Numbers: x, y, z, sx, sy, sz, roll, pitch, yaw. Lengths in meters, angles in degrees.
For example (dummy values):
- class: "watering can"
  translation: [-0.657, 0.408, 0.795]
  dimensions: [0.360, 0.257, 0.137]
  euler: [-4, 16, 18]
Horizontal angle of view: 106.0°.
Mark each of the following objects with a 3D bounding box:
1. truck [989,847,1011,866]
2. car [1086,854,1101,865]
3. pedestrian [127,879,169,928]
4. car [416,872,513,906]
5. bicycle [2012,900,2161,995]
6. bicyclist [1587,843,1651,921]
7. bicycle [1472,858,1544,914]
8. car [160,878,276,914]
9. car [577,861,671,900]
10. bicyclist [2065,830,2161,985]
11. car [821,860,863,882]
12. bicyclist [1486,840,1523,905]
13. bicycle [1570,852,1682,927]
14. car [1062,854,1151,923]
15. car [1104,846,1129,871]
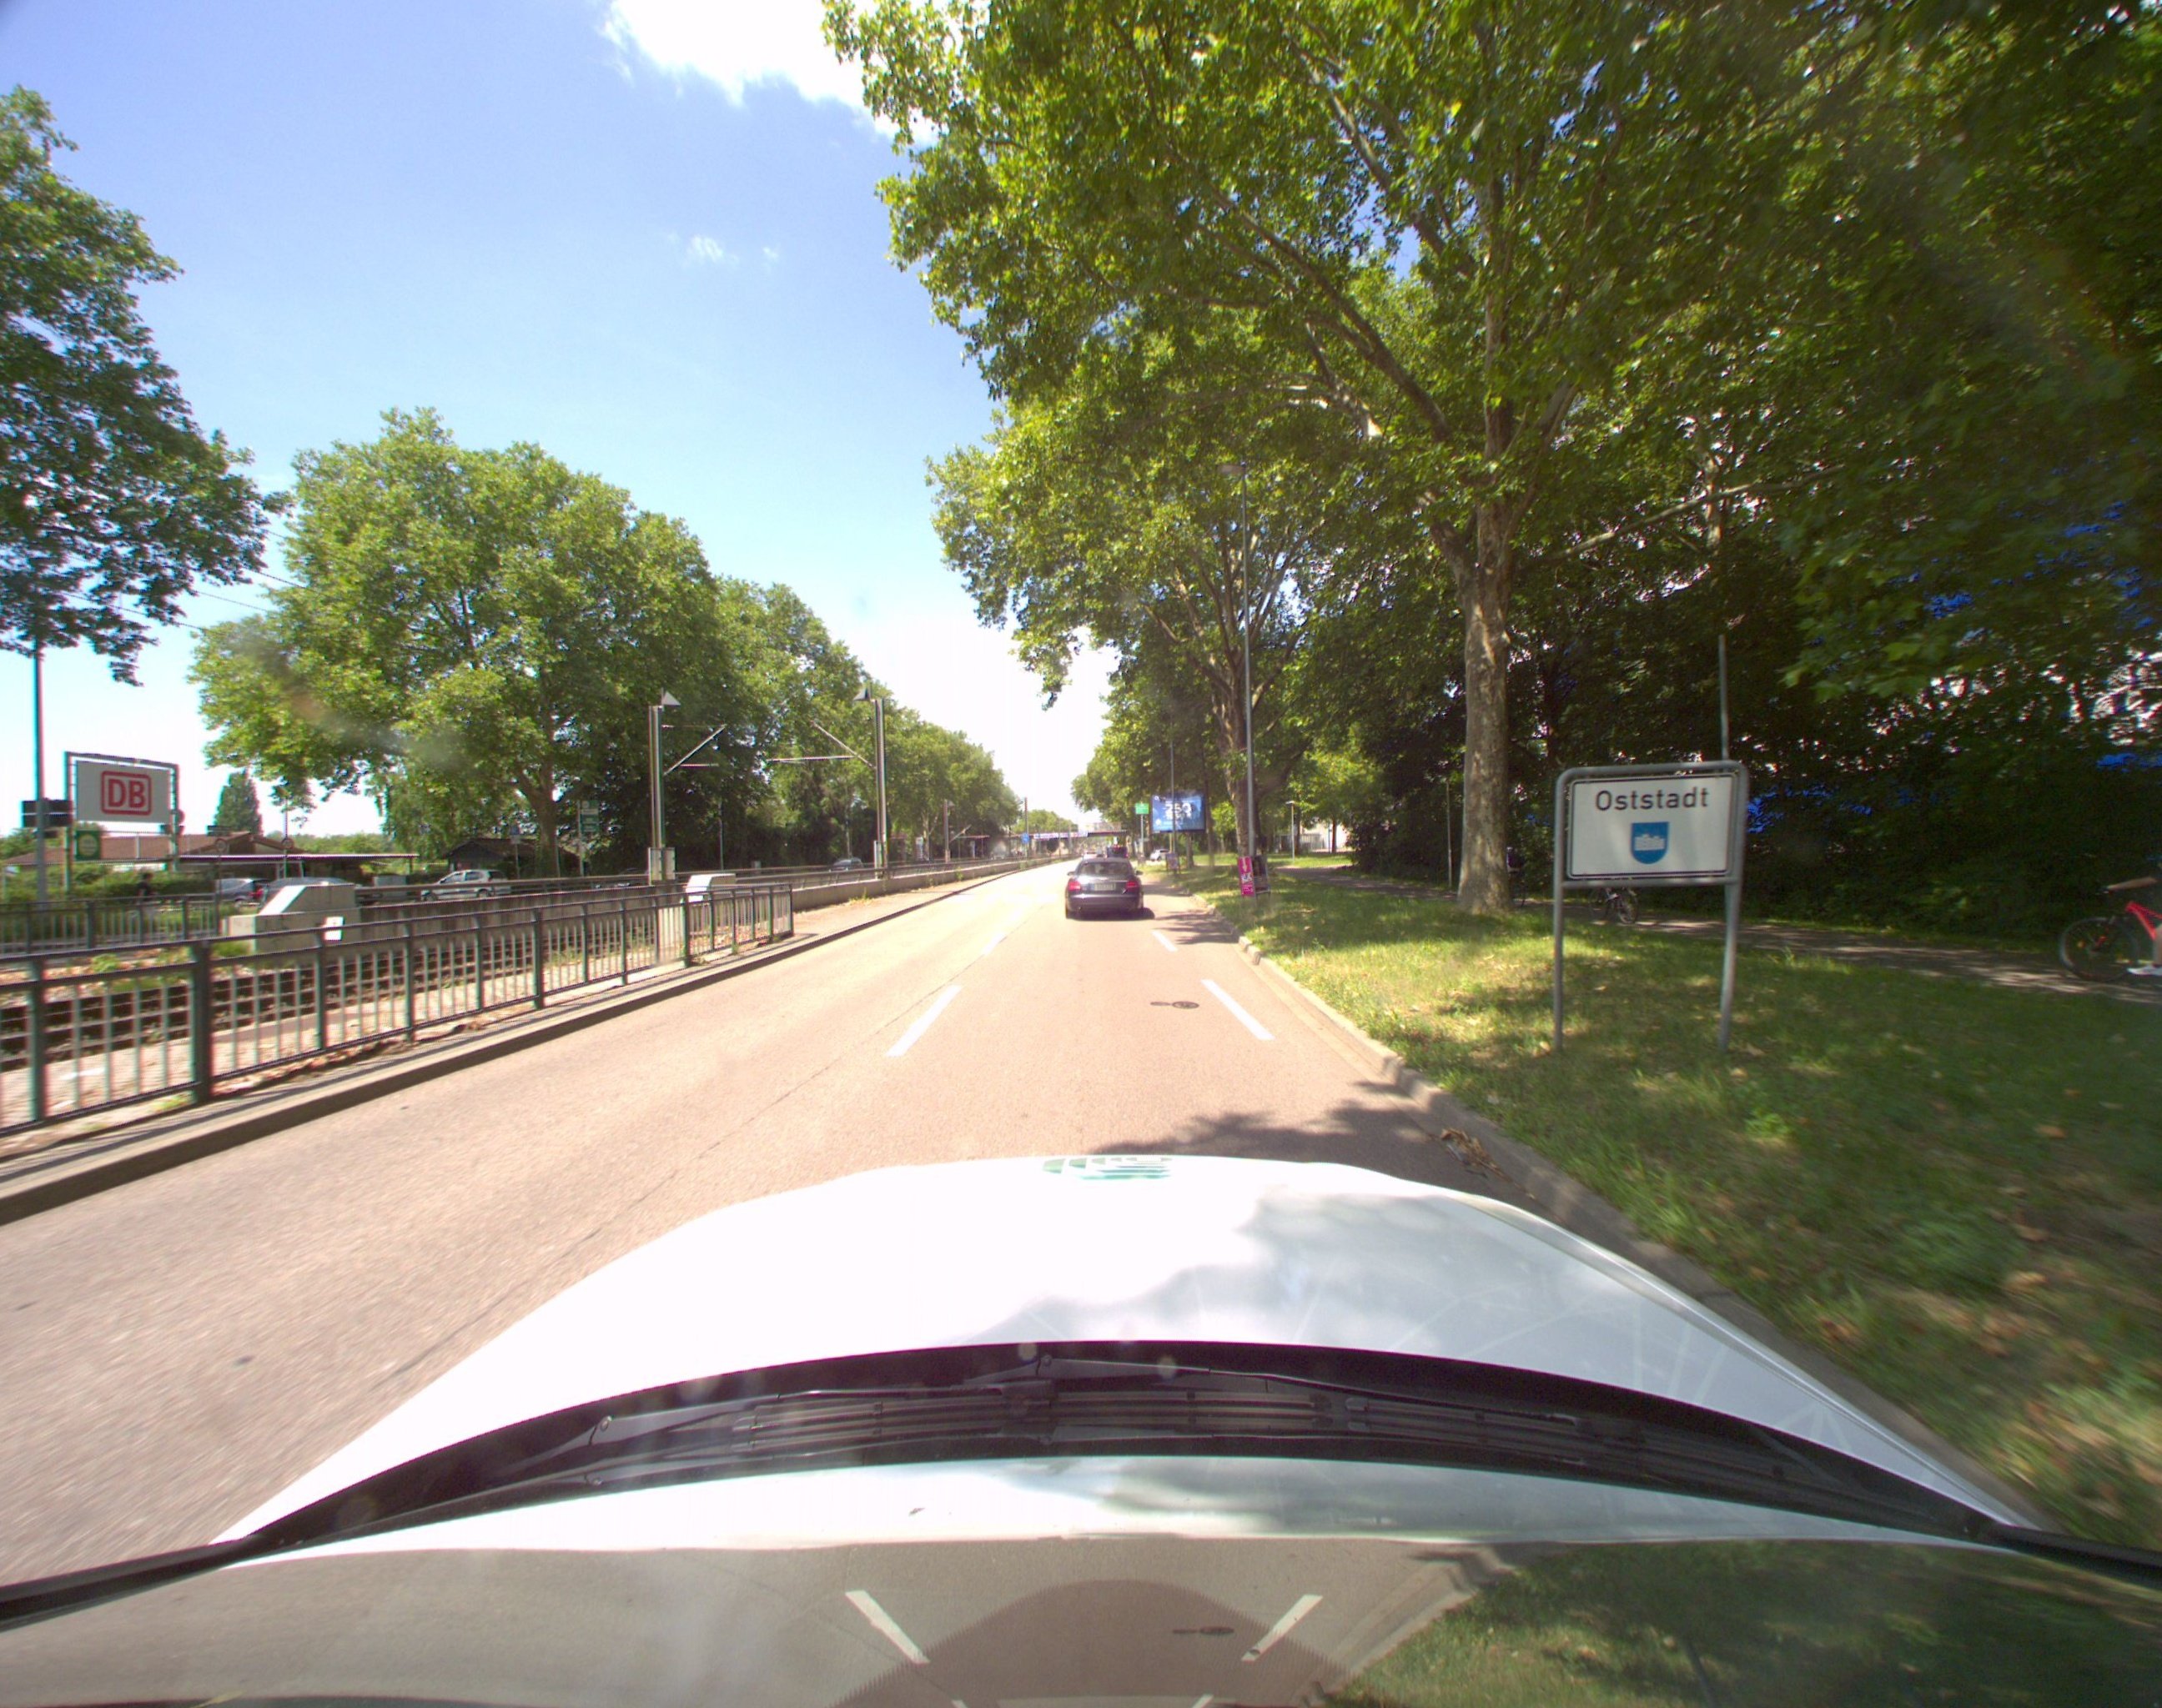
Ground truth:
- class: "truck"
  translation: [-13.745, 0.377, 138.680]
  dimensions: [2.983, 3.020, 7.993]
  euler: [-1, 0, -2]
- class: "car"
  translation: [1.678, 0.766, 110.470]
  dimensions: [1.839, 1.464, 4.000]
  euler: [-1, 0, 0]
- class: "pedestrian"
  translation: [-28.683, 1.515, 25.046]
  dimensions: [0.556, 1.452, 0.643]
  euler: [-1, 0, -12]
- class: "car"
  translation: [-29.911, 1.666, 39.597]
  dimensions: [3.316, 1.475, 1.649]
  euler: [-1, 0, -10]
- class: "bicycle"
  translation: [11.566, 1.009, 8.898]
  dimensions: [0.642, 0.887, 2.027]
  euler: [-1, 0, 7]
- class: "bicyclist"
  translation: [11.407, 0.576, 17.312]
  dimensions: [0.656, 1.599, 1.054]
  euler: [-1, 0, 2]
- class: "bicycle"
  translation: [11.745, 0.842, 22.506]
  dimensions: [0.608, 1.420, 2.663]
  euler: [-2, 0, 2]
- class: "car"
  translation: [-39.908, 1.921, 37.738]
  dimensions: [3.316, 1.475, 1.649]
  euler: [-1, 0, -10]
- class: "car"
  translation: [-21.598, 1.199, 38.686]
  dimensions: [1.736, 1.684, 4.389]
  euler: [-1, 0, 4]
- class: "bicyclist"
  translation: [11.548, 0.554, 8.891]
  dimensions: [0.619, 1.610, 0.818]
  euler: [-1, 0, 7]
- class: "car"
  translation: [-19.708, 1.398, 67.380]
  dimensions: [1.859, 1.684, 4.389]
  euler: [2, 0, 4]
- class: "bicyclist"
  translation: [11.653, 0.497, 22.426]
  dimensions: [0.595, 1.746, 0.843]
  euler: [-1, 0, 2]
- class: "bicycle"
  translation: [11.404, 0.690, 17.170]
  dimensions: [0.608, 1.420, 2.663]
  euler: [-2, 0, 2]
- class: "car"
  translation: [0.522, 0.767, 20.014]
  dimensions: [1.838, 1.484, 3.996]
  euler: [-1, 0, -3]
- class: "car"
  translation: [2.858, 0.347, 64.611]
  dimensions: [1.840, 1.959, 4.149]
  euler: [0, 0, 4]
